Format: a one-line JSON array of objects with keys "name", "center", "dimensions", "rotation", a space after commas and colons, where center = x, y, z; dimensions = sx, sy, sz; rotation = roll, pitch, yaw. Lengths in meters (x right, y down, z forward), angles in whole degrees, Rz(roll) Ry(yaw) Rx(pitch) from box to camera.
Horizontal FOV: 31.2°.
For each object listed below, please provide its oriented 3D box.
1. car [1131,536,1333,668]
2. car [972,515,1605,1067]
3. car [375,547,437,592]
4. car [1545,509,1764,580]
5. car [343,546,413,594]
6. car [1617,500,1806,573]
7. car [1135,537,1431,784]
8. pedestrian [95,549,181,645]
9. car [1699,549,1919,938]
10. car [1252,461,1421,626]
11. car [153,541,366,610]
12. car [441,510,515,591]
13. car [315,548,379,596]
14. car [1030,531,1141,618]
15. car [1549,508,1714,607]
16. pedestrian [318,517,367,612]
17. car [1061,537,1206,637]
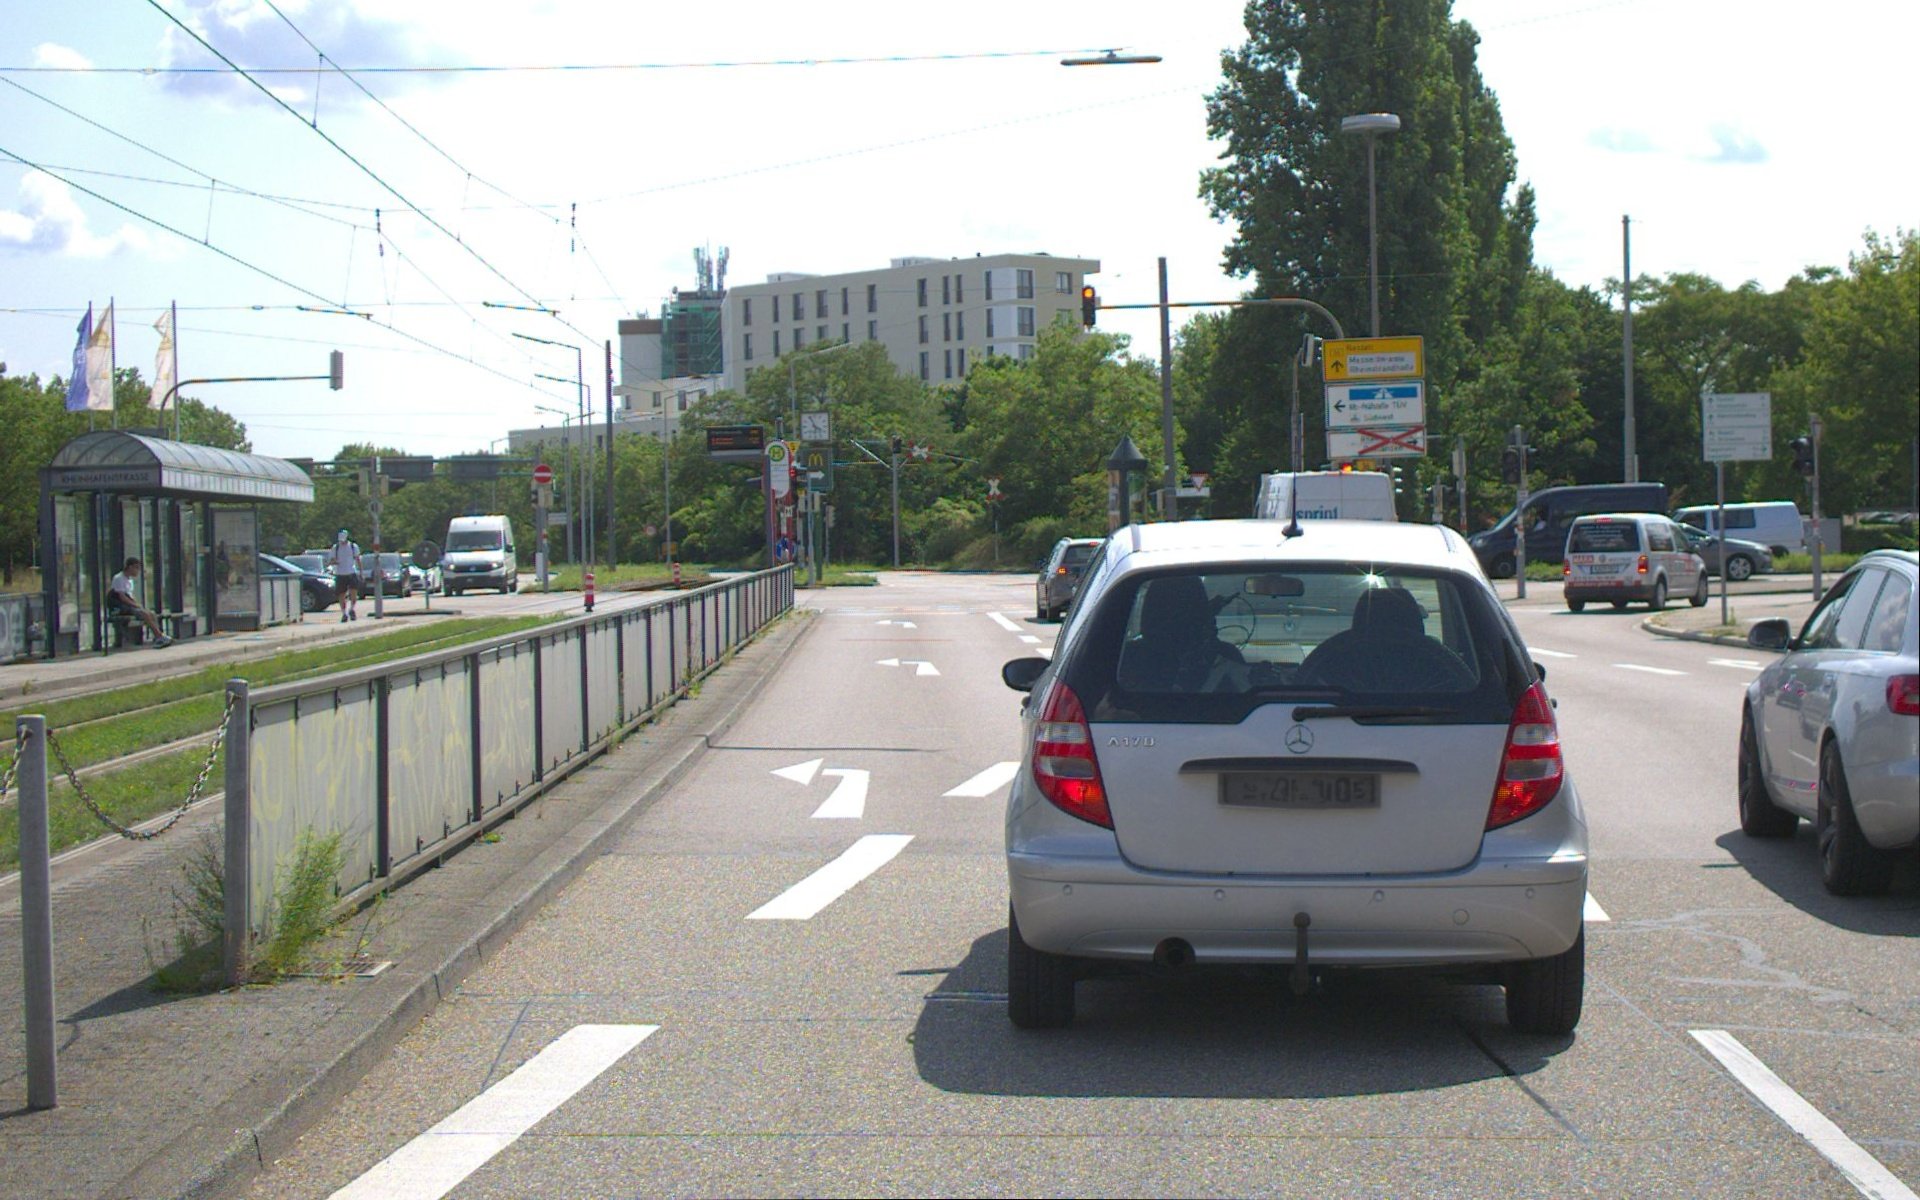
[{"name": "car", "center": [3.107, -0.026, 40.180], "dimensions": [1.887, 1.443, 4.828], "rotation": [0, 1, -1]}, {"name": "car", "center": [1.087, 0.510, 11.900], "dimensions": [1.787, 1.571, 4.094], "rotation": [-1, 1, 4]}, {"name": "car", "center": [-19.307, -1.078, 119.974], "dimensions": [1.802, 1.536, 4.165], "rotation": [0, 1, -5]}, {"name": "car", "center": [16.512, -1.318, 81.919], "dimensions": [4.863, 1.654, 2.000], "rotation": [0, 1, 2]}, {"name": "car", "center": [-18.856, -0.981, 111.508], "dimensions": [1.896, 1.536, 3.730], "rotation": [0, 1, -5]}, {"name": "car", "center": [20.454, -1.733, 93.684], "dimensions": [4.676, 1.929, 2.000], "rotation": [-1, 1, -1]}, {"name": "car", "center": [2.077, 0.326, 23.183], "dimensions": [1.739, 1.487, 4.629], "rotation": [0, 1, 2]}, {"name": "pedestrian", "center": [-11.903, -0.044, 49.812], "dimensions": [1.058, 1.371, 0.860], "rotation": [0, 1, -1]}, {"name": "car", "center": [4.580, 0.524, 15.585], "dimensions": [1.855, 1.487, 4.535], "rotation": [0, 1, 5]}, {"name": "car", "center": [6.100, -0.933, 56.296], "dimensions": [2.041, 2.549, 5.232], "rotation": [-1, 1, -1]}, {"name": "car", "center": [-17.011, -0.601, 83.640], "dimensions": [4.675, 1.543, 2.000], "rotation": [-1, 1, 4]}, {"name": "car", "center": [-15.711, -1.616, 112.217], "dimensions": [1.993, 2.597, 4.879], "rotation": [0, 1, -3]}, {"name": "car", "center": [-21.467, -0.984, 120.543], "dimensions": [1.862, 1.645, 4.001], "rotation": [0, 1, -5]}, {"name": "car", "center": [2.220, -0.489, 61.889], "dimensions": [1.744, 1.494, 4.380], "rotation": [0, 1, -1]}, {"name": "car", "center": [12.515, -0.778, 63.909], "dimensions": [1.888, 1.725, 4.088], "rotation": [-2, 0, 28]}, {"name": "pedestrian", "center": [-11.713, -0.678, 65.263], "dimensions": [0.807, 1.789, 0.709], "rotation": [-1, 1, -3]}, {"name": "car", "center": [2.554, -0.223, 51.425], "dimensions": [1.869, 1.415, 4.100], "rotation": [0, 1, -1]}]
